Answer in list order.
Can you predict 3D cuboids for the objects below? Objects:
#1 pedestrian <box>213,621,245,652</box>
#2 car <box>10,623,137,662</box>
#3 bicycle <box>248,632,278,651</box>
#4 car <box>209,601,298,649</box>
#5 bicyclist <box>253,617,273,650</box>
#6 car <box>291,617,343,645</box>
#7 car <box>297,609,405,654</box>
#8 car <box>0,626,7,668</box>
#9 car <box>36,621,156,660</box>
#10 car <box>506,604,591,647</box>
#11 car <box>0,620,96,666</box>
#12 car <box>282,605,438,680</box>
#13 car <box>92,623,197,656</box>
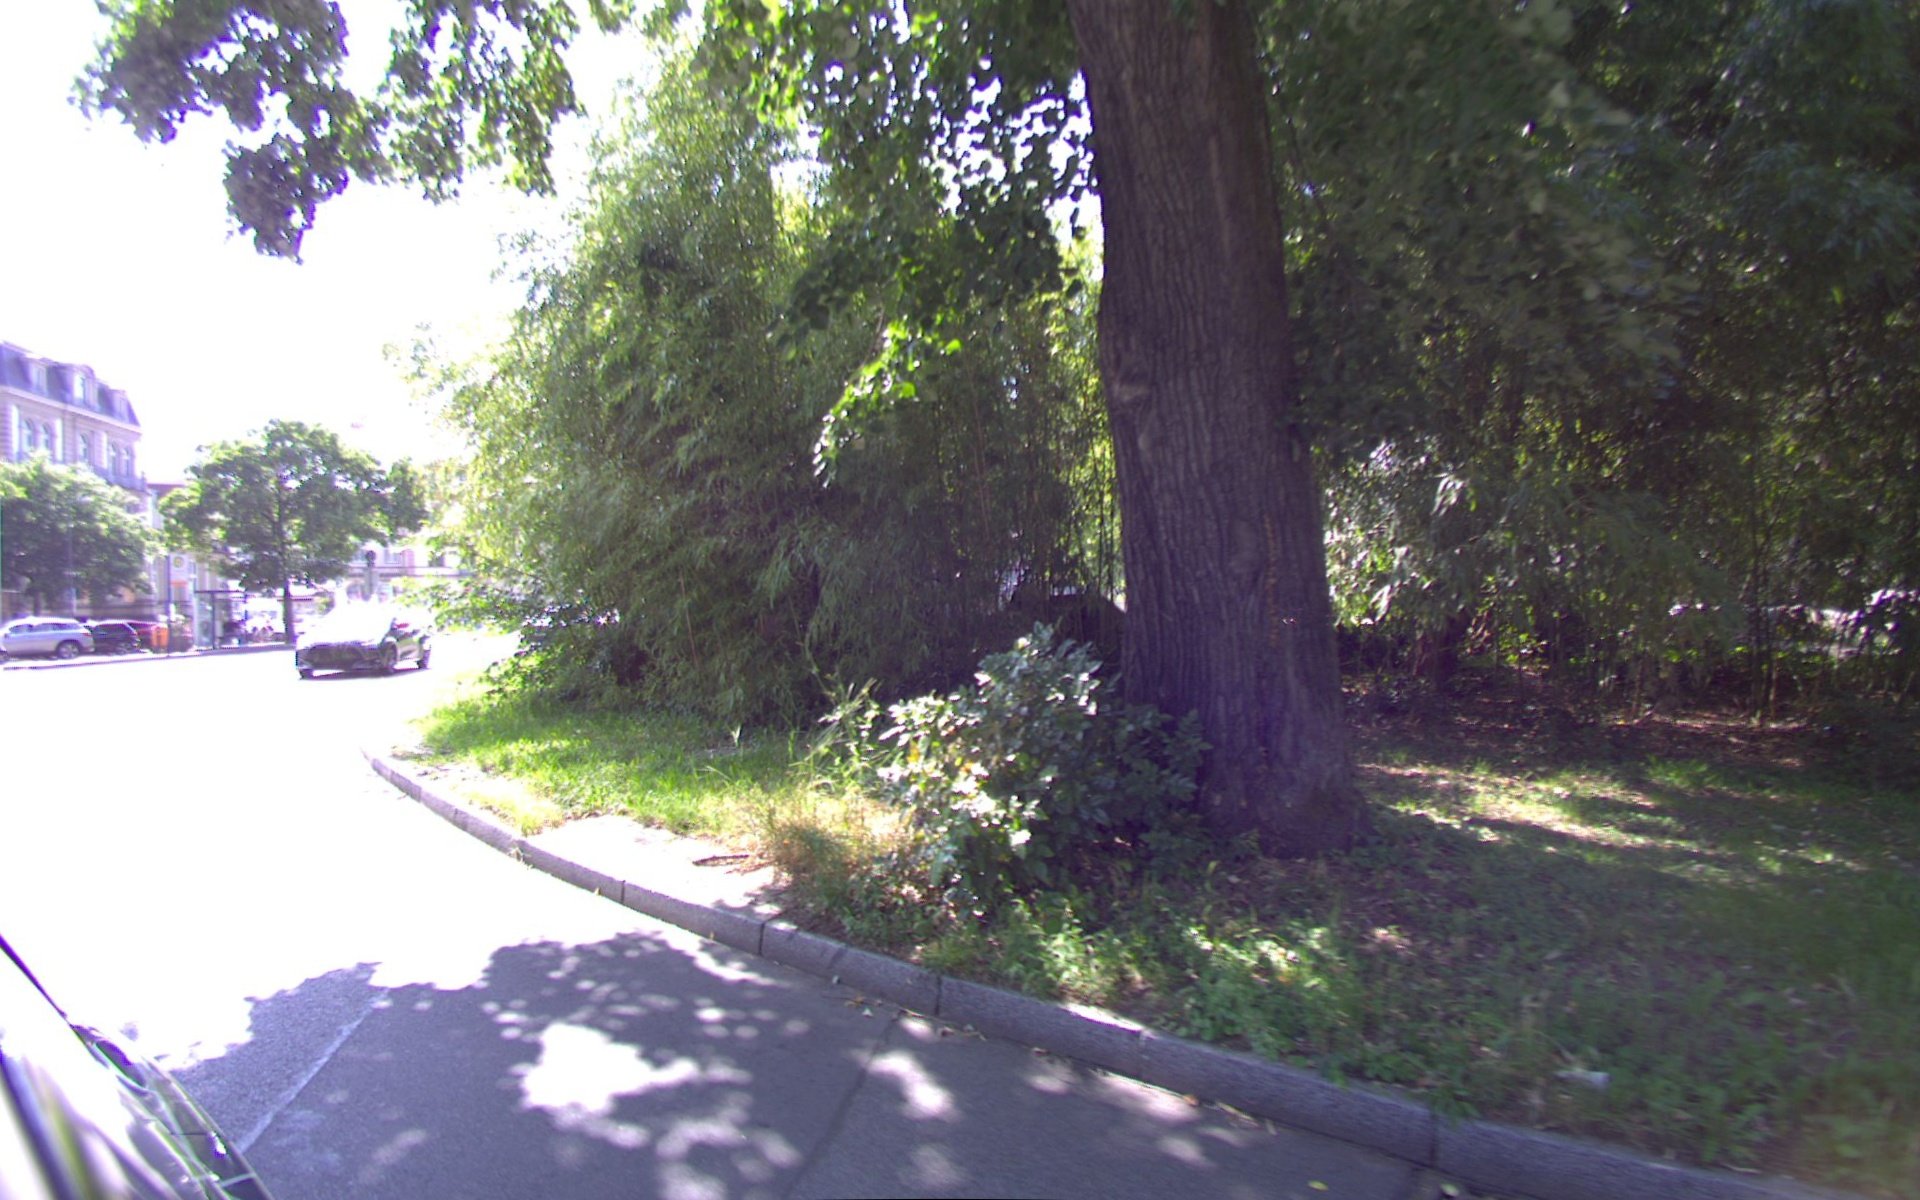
[{"bbox_3d":[-29.963,1.484,41.491,1.004,1.207,0.794,-1,-1,-31],"label":"pedestrian"},{"bbox_3d":[-37.606,1.782,43.029,1.601,1.428,3.778,-2,0,33],"label":"car"},{"bbox_3d":[-34.971,2.062,50.780,0.584,0.861,1.749,-1,-1,-12],"label":"bicycle"},{"bbox_3d":[-41.303,1.491,59.152,5.292,2.623,1.982,-2,-1,27],"label":"car"},{"bbox_3d":[-34.984,1.688,50.792,0.584,1.618,0.686,-1,-1,-12],"label":"bicyclist"},{"bbox_3d":[-41.076,1.964,64.713,1.791,1.638,4.895,-2,0,-20],"label":"car"},{"bbox_3d":[-22.009,1.110,36.775,1.764,1.524,4.287,0,-1,-7],"label":"car"},{"bbox_3d":[-35.587,1.723,35.923,1.194,1.494,2.271,-2,0,23],"label":"car"},{"bbox_3d":[-39.375,1.806,46.190,1.745,1.587,3.834,-2,0,33],"label":"car"},{"bbox_3d":[-15.227,0.908,37.672,1.765,1.504,4.092,0,-1,-4],"label":"car"},{"bbox_3d":[-36.618,1.688,39.359,1.706,1.642,4.273,-2,0,29],"label":"car"},{"bbox_3d":[-12.892,0.863,22.056,1.762,1.462,4.292,0,-1,-14],"label":"car"},{"bbox_3d":[-39.859,1.935,49.516,1.744,1.429,3.659,-2,0,33],"label":"car"}]
